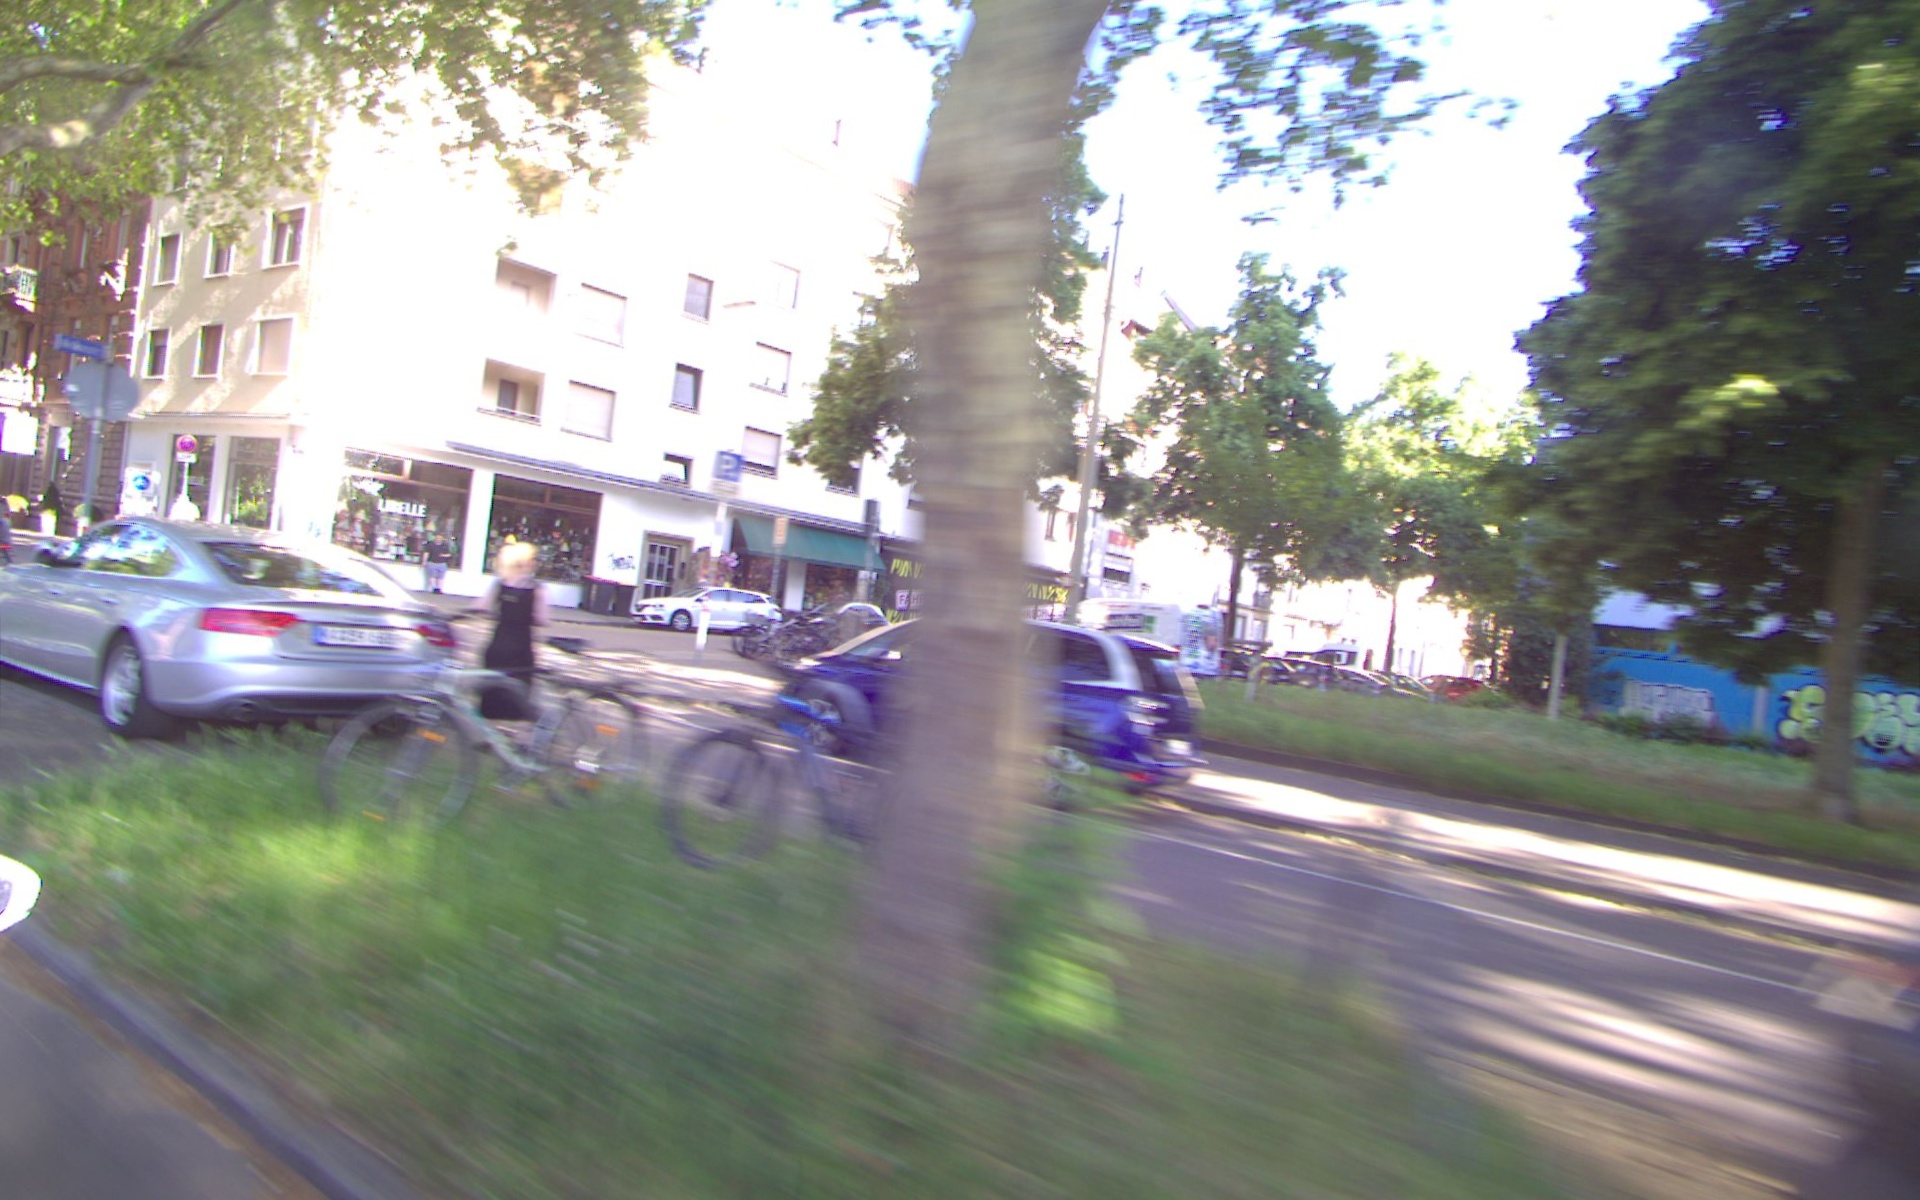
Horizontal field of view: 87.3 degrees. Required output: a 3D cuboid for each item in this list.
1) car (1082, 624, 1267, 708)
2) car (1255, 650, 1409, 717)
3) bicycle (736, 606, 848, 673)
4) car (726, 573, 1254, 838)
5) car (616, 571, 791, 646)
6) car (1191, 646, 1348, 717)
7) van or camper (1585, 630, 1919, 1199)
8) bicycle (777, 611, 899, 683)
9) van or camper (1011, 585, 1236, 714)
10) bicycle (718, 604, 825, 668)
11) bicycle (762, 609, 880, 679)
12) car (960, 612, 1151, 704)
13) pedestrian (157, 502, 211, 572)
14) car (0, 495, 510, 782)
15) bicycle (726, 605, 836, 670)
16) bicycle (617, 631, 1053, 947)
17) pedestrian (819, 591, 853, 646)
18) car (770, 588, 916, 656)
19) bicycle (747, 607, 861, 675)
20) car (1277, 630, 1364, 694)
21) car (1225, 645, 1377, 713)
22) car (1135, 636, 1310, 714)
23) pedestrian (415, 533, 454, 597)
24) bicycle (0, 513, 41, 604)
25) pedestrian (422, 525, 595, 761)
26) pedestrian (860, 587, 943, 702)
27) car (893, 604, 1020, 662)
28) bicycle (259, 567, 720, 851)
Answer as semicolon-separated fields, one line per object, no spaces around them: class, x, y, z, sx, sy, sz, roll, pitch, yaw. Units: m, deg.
car;5.960;1.815;28.399;1.988;1.689;4.687;8;-1;-43
car;13.101;2.931;35.614;1.988;1.647;4.596;8;-1;-43
bicycle;-3.388;0.811;20.402;2.125;1.117;0.504;8;0;-34
car;0.162;0.907;10.390;5.082;1.763;1.822;7;-1;32
car;-7.585;0.293;30.007;4.574;1.599;1.975;9;-1;-43
car;10.010;2.612;32.734;1.988;1.647;4.336;8;-1;-43
van or camper;3.059;1.042;1.828;2.786;1.607;1.507;7;0;15
bicycle;-2.261;0.892;18.866;2.176;1.117;0.504;8;0;-34
van or camper;4.194;1.226;26.717;2.140;2.668;5.521;7;-1;-42
bicycle;-3.972;0.778;21.308;2.125;1.117;0.468;8;0;-34
bicycle;-2.652;0.863;19.359;2.125;1.117;0.504;8;0;-34
car;2.265;1.386;24.870;1.988;1.647;4.336;8;-1;-43
pedestrian;-20.671;-1.666;26.806;0.712;1.725;0.796;7;0;32
car;-5.745;0.123;7.535;4.943;1.414;1.756;7;-1;32
bicycle;-3.692;0.787;20.870;2.125;1.117;0.504;8;0;-34
bicycle;-0.604;0.818;4.865;1.853;1.091;0.760;7;0;22
pedestrian;-4.391;0.638;35.577;0.720;1.831;0.680;7;0;-44
car;-3.819;0.754;33.410;4.368;1.664;1.976;9;-1;-43
bicycle;-3.072;0.828;19.936;2.125;1.117;0.504;8;0;-34
car;20.462;3.533;56.906;5.475;3.021;2.076;8;-1;-43
car;11.529;2.639;34.189;1.988;1.647;4.336;8;-1;-43
car;7.927;2.258;30.693;1.988;1.689;4.687;8;-1;-43
pedestrian;-14.619;-0.976;27.965;0.714;1.670;0.590;7;0;43
bicycle;-11.190;-0.550;11.320;2.129;0.936;0.640;7;0;32
pedestrian;-3.375;0.334;7.543;0.701;1.628;0.689;7;-2;32
pedestrian;-0.934;0.707;15.951;0.892;1.671;0.679;8;0;39
car;-0.080;1.232;36.899;4.368;1.555;1.976;9;-1;-43
bicycle;-2.298;0.539;5.264;0.665;1.137;2.074;7;-1;30
